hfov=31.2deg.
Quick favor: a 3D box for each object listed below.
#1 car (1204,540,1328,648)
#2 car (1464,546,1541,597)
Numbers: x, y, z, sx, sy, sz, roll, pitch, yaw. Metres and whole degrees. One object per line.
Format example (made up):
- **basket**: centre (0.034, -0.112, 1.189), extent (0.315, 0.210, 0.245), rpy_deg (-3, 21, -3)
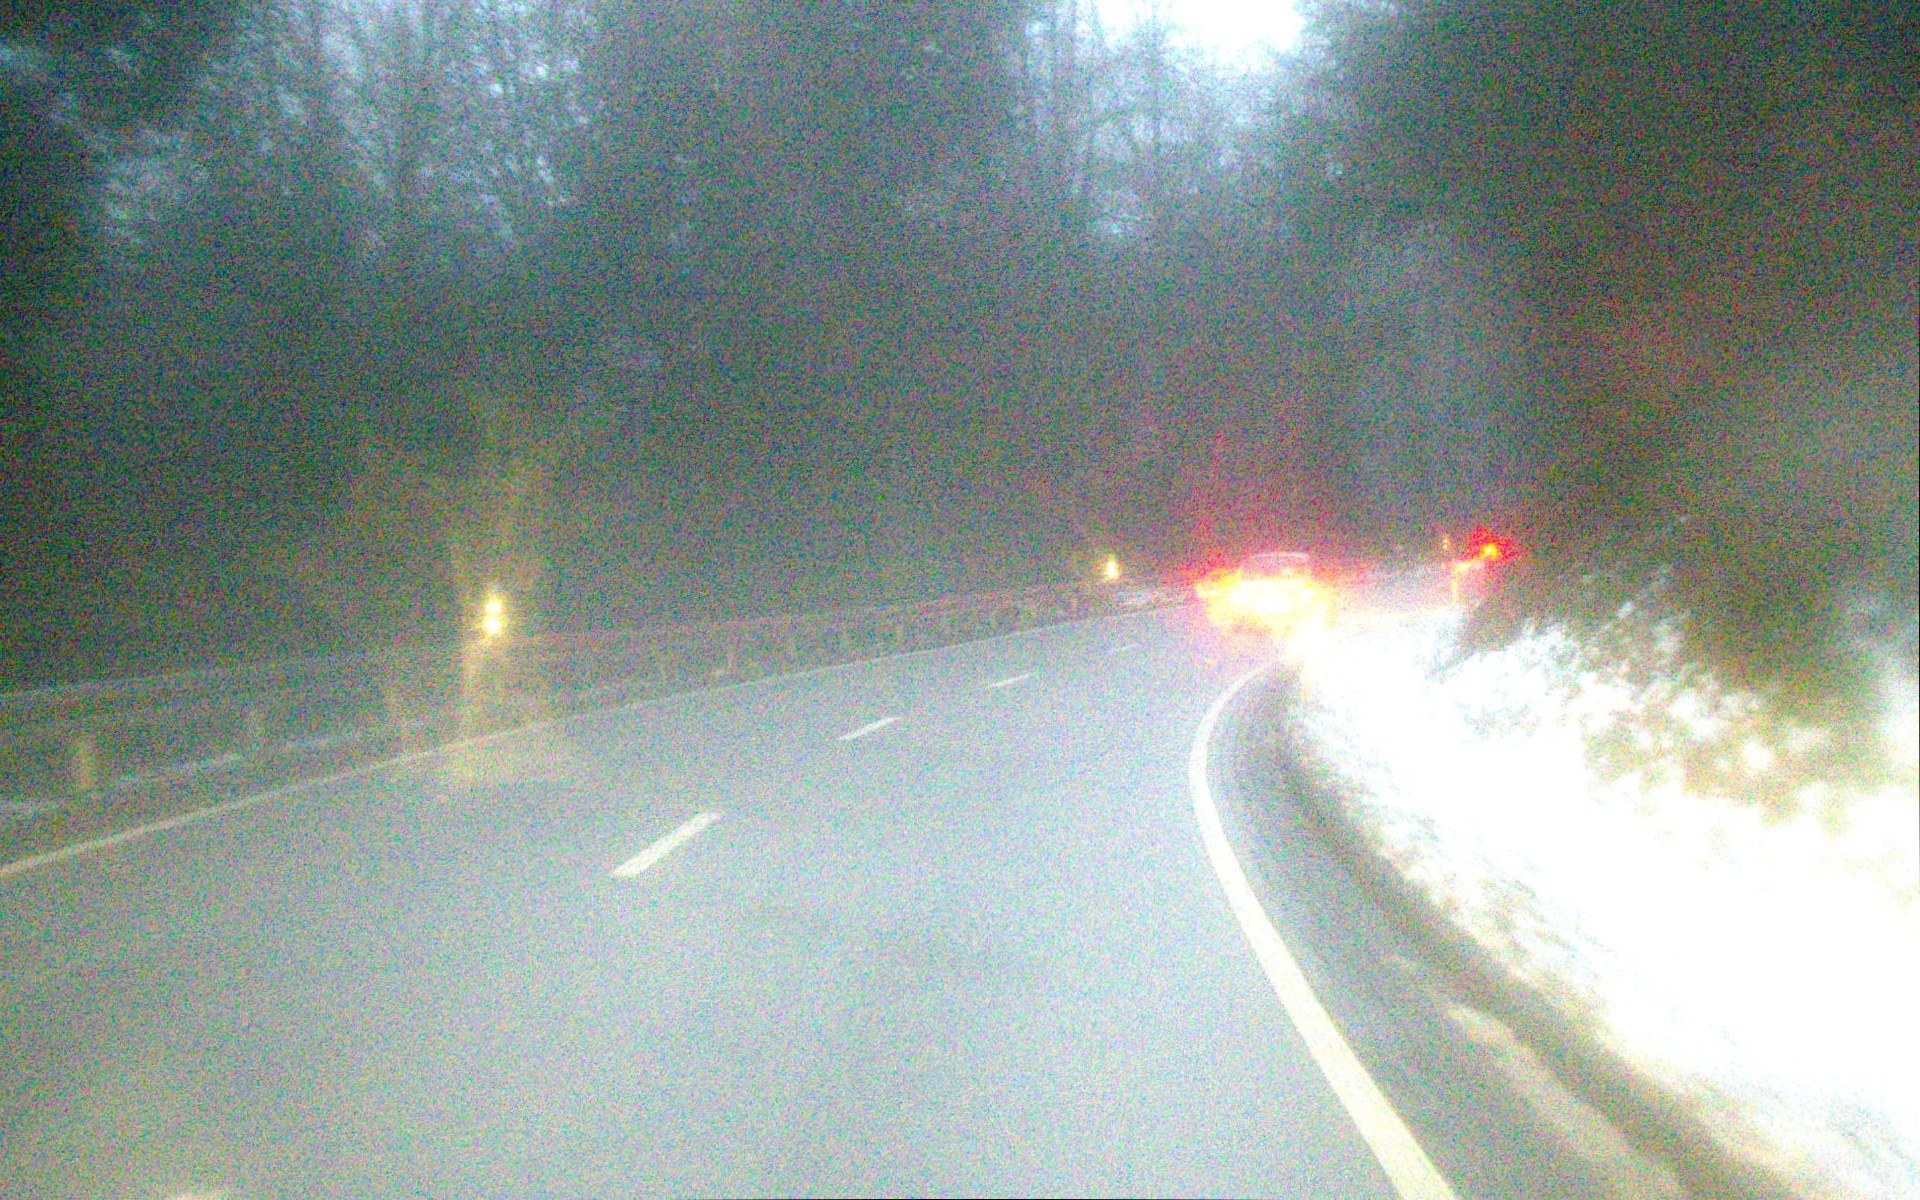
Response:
- **car**: centre (5.687, -0.143, 63.485), extent (1.994, 1.866, 3.999), rpy_deg (-2, 1, 9)
- **car**: centre (15.030, -0.815, 95.143), extent (1.994, 1.305, 3.998), rpy_deg (-2, 1, 10)
